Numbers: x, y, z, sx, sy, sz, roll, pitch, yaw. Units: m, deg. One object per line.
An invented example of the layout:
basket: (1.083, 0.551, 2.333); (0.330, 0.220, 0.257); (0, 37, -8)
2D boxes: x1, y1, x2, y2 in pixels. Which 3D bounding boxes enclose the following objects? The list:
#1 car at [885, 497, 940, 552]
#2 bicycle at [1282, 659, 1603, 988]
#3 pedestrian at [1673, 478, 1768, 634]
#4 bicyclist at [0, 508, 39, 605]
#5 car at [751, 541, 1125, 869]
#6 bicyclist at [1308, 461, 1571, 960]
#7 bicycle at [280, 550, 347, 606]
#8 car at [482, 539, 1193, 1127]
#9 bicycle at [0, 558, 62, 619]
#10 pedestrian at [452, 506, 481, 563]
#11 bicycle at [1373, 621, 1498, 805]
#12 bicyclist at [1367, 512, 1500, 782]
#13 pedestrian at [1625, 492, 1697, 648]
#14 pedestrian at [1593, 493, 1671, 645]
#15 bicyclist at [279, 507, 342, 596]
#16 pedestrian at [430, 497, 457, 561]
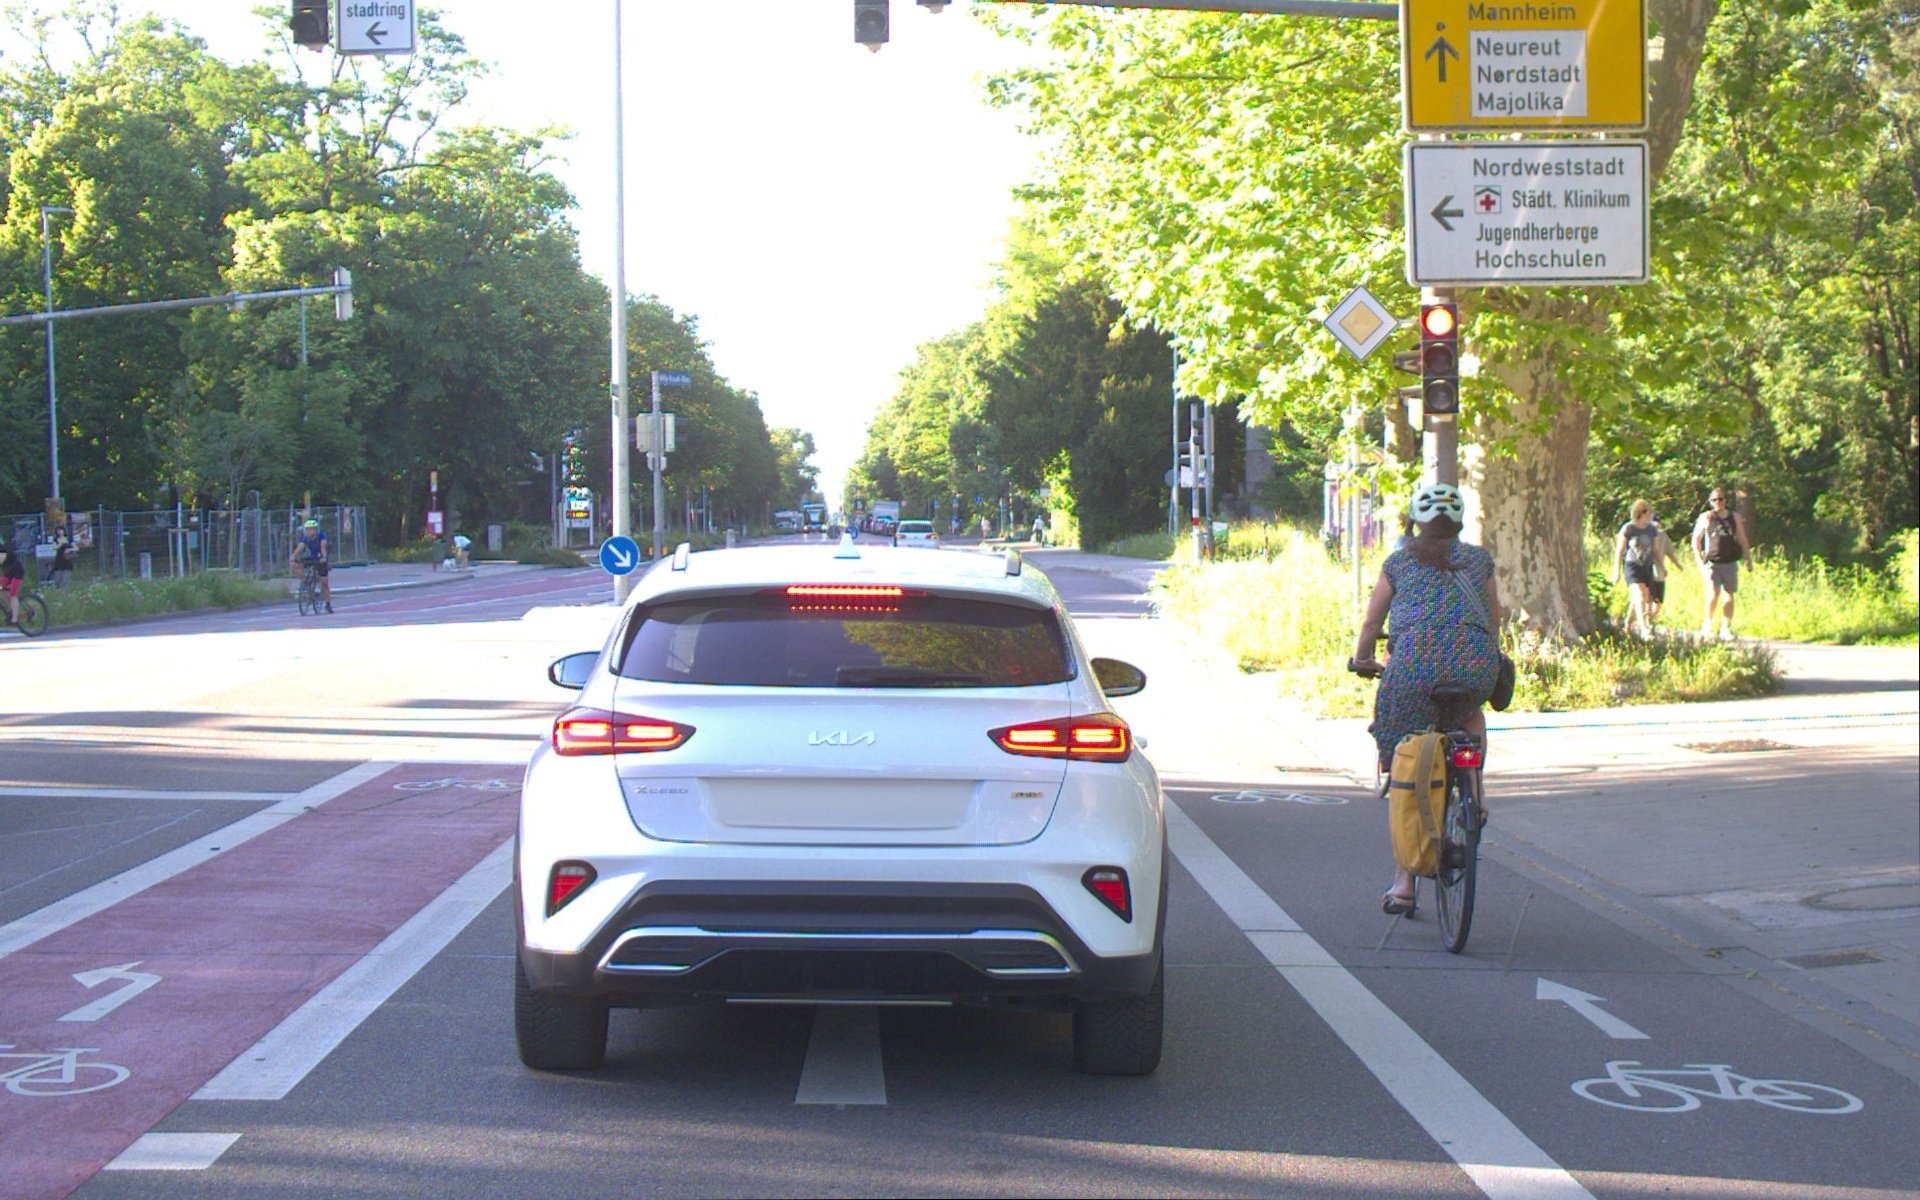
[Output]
car: (-1.794, -2.868, 130.759); (1.993, 2.007, 4.000); (-1, 1, 0)
bicycle: (1.780, 0.791, 13.104); (0.758, 1.009, 2.570); (1, 1, -2)
pedestrian: (8.811, -0.516, 39.839); (0.817, 1.765, 0.832); (-1, 1, -7)
bicyclist: (-16.224, -0.736, 58.000); (0.876, 1.601, 0.976); (-1, 1, 24)
car: (-0.164, 0.462, 17.862); (1.728, 1.478, 3.517); (-1, 1, -2)
bicyclist: (1.793, 0.387, 13.016); (0.753, 1.789, 1.165); (1, 1, -2)
bicycle: (-12.013, -0.419, 63.943); (0.663, 0.985, 2.504); (-1, 1, 2)
car: (-0.375, 0.564, 10.793); (1.821, 1.475, 3.937); (0, 1, -2)
bicycle: (-16.257, -0.177, 57.911); (0.580, 0.985, 2.711); (-1, 2, 25)
pedestrian: (-15.540, -2.074, 108.296); (0.785, 1.779, 0.751); (0, 1, 0)
bicycle: (2.699, 0.622, 19.610); (0.401, 0.953, 1.551); (-3, 1, -2)
bicyclist: (2.680, 0.257, 19.510); (0.554, 1.473, 0.717); (-3, 1, -2)
pedestrian: (8.058, -0.350, 39.526); (0.615, 1.765, 0.647); (-1, 1, -7)
pedestrian: (7.644, -0.356, 39.121); (0.689, 1.693, 0.644); (-1, 1, -7)
bicyclist: (-12.031, -0.908, 63.735); (0.875, 1.603, 1.188); (-1, 1, 2)
pedestrian: (-16.211, -2.218, 107.931); (0.641, 2.007, 0.753); (1, 1, 10)
